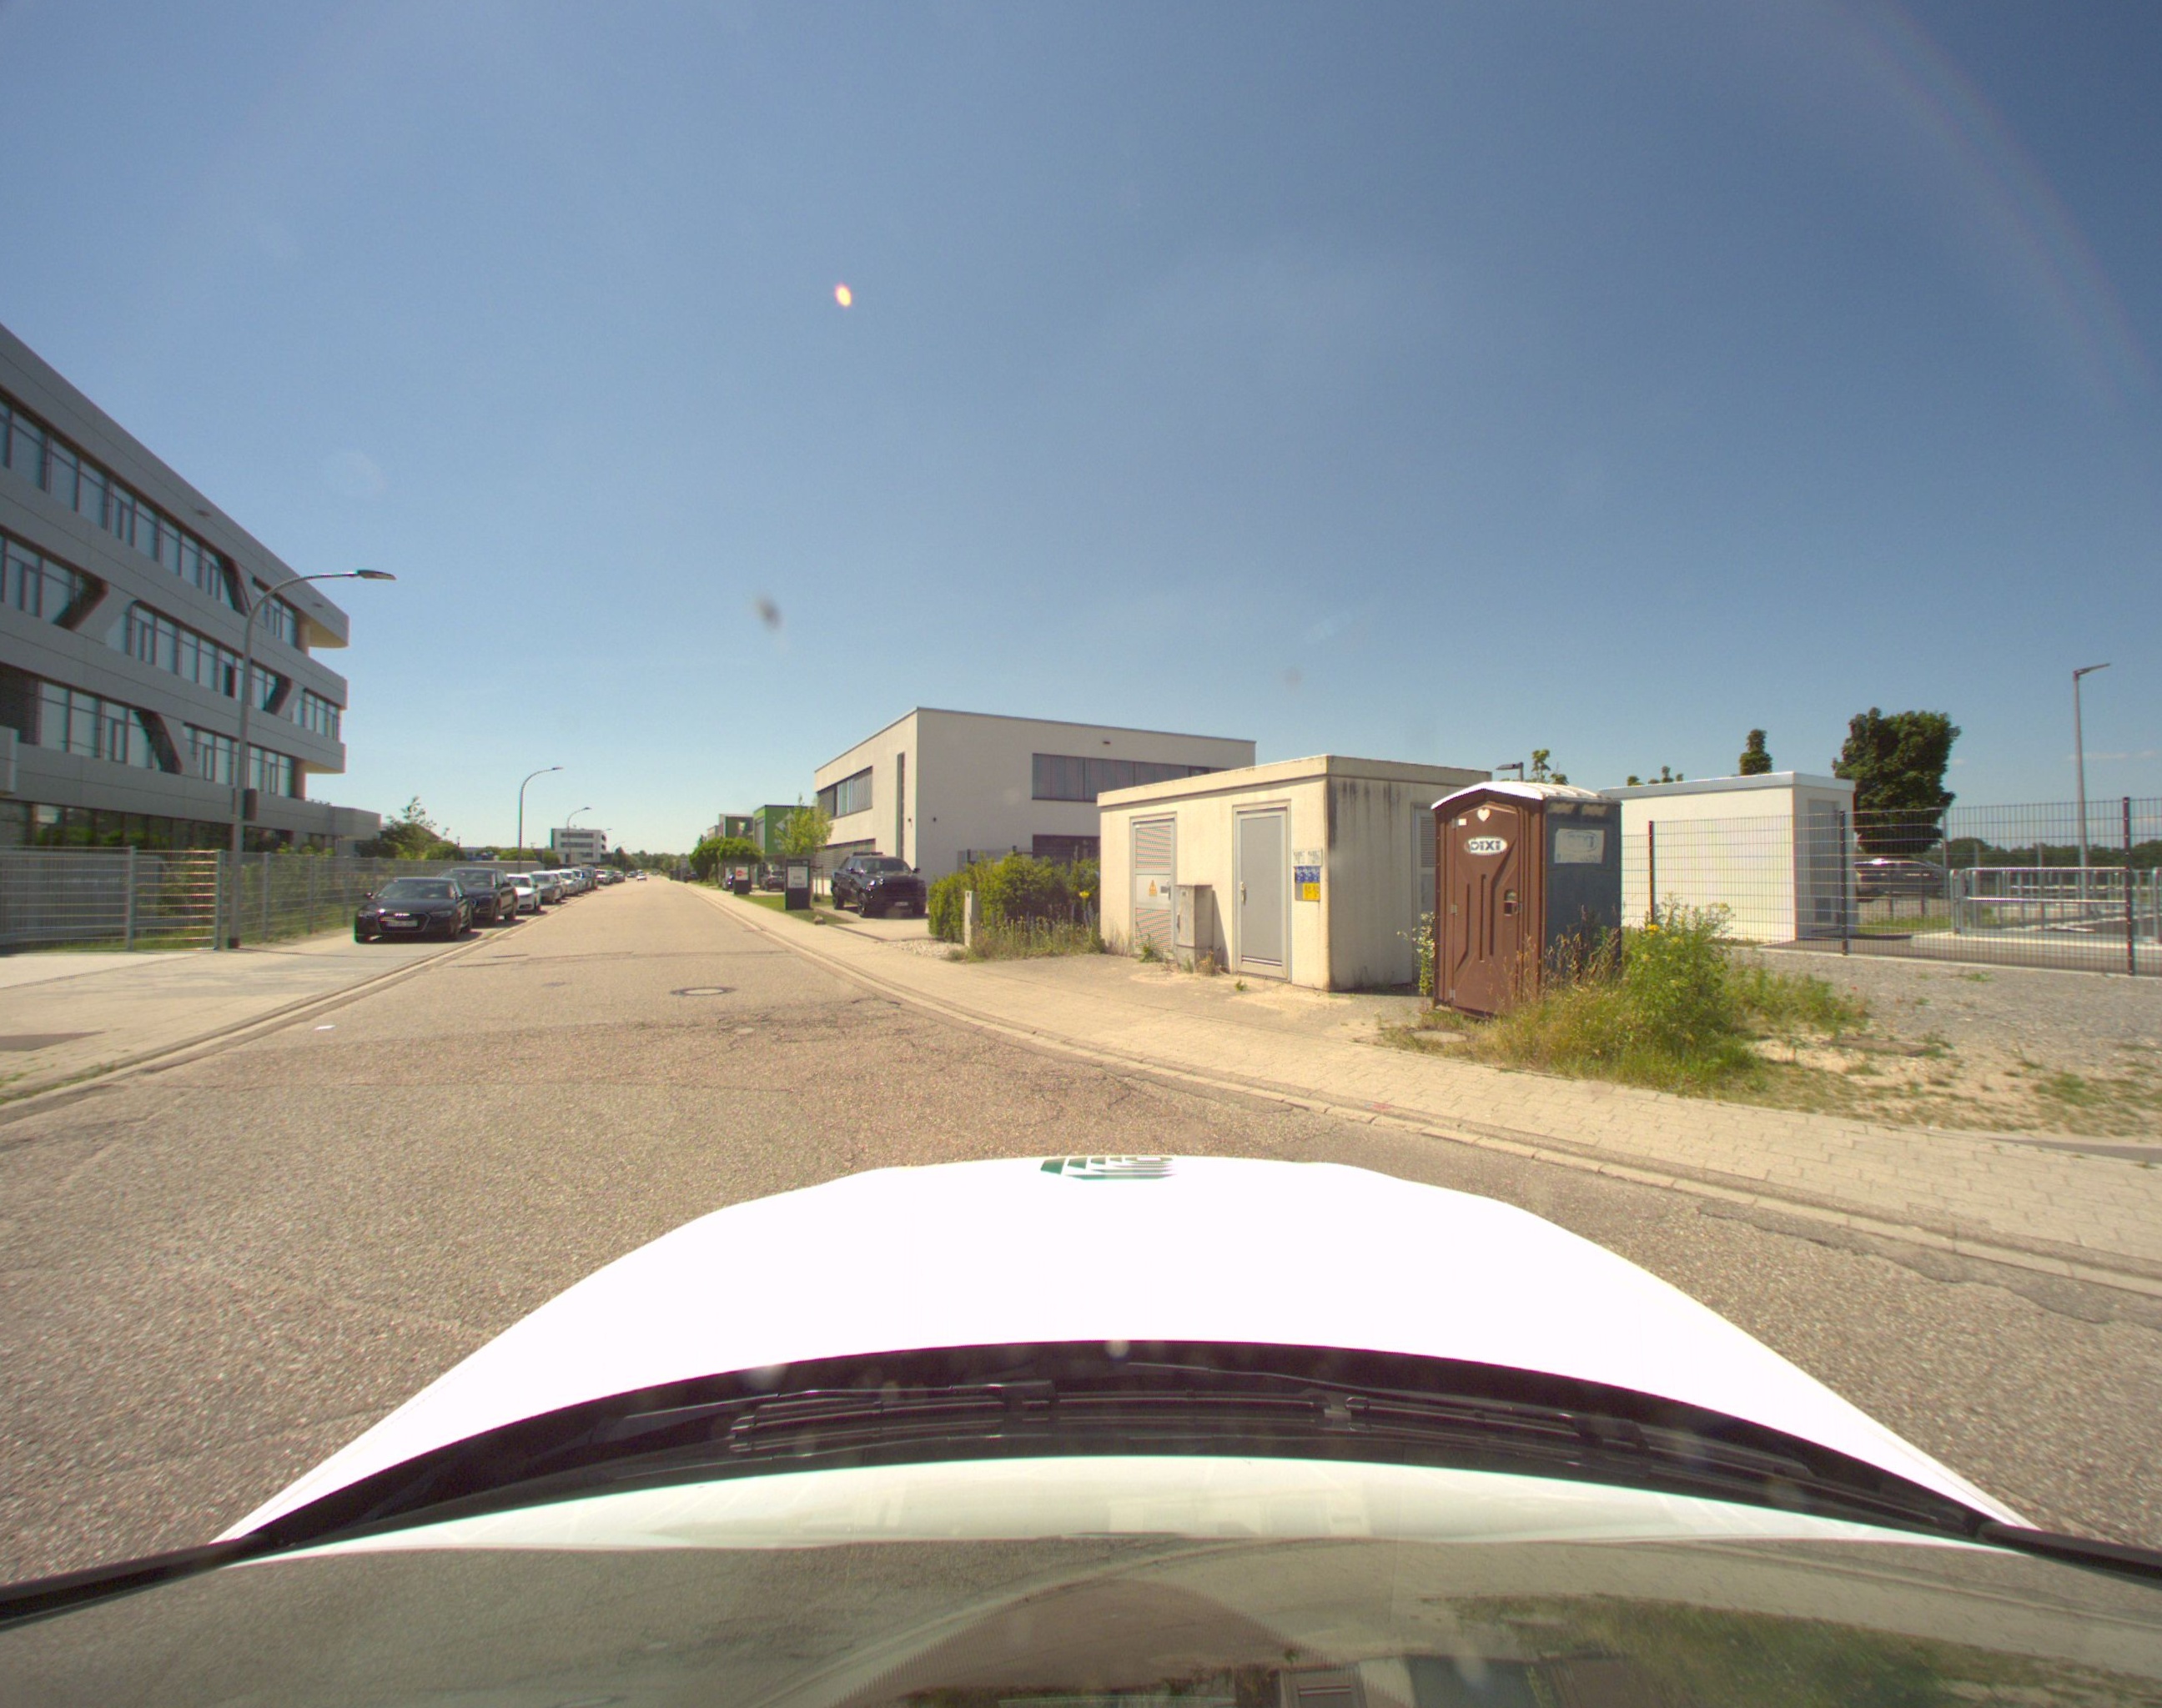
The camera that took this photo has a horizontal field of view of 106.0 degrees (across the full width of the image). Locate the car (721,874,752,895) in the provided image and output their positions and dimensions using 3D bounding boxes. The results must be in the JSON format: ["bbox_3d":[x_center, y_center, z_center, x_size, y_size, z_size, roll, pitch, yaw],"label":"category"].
[{"bbox_3d":[-24.910,2.175,58.812,1.702,1.428,4.207,2,-2,-28],"label":"car"}]

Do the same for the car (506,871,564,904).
[{"bbox_3d":[-25.254,1.525,37.792,1.693,1.386,4.597,2,-1,-27],"label":"car"}]

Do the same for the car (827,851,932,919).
[{"bbox_3d":[-7.096,0.966,28.161,2.006,2.013,5.745,1,1,-30],"label":"car"}]

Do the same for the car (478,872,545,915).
[{"bbox_3d":[-20.844,1.410,29.928,1.710,1.386,3.899,2,-1,-31],"label":"car"}]

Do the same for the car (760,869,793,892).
[{"bbox_3d":[-22.429,1.929,59.961,1.733,1.633,3.985,2,-2,-28],"label":"car"}]

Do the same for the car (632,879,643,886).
[{"bbox_3d":[-88.062,5.641,161.708,1.715,1.411,4.735,1,-1,-32],"label":"car"}]

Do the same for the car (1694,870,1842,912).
[{"bbox_3d":[26.622,1.452,31.698,1.866,1.505,3.962,1,-4,-28],"label":"car"}]

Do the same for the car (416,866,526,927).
[{"bbox_3d":[-18.387,1.218,24.770,1.779,1.651,4.808,2,-1,-26],"label":"car"}]

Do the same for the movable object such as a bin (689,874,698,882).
[{"bbox_3d":[-68.330,4.207,143.535,1.342,1.460,0.940,1,-2,-29],"label":"movable object such as a bin"}]

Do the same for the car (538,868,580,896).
[{"bbox_3d":[-30.726,1.618,47.990,1.713,1.536,4.529,3,-2,-29],"label":"car"}]

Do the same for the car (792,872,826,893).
[{"bbox_3d":[-20.224,2.100,60.551,1.733,1.450,3.985,2,-2,-28],"label":"car"}]

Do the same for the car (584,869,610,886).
[{"bbox_3d":[-47.071,2.303,79.201,1.796,1.542,4.326,2,-2,-26],"label":"car"}]

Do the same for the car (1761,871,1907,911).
[{"bbox_3d":[30.570,1.529,33.190,1.866,1.505,3.962,1,-4,-28],"label":"car"}]

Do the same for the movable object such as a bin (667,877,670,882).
[{"bbox_3d":[-90.480,5.572,178.529,0.555,0.928,0.517,-4,1,-24],"label":"movable object such as a bin"}]

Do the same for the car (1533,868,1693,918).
[{"bbox_3d":[17.425,1.298,26.861,1.866,1.505,3.962,1,-4,-28],"label":"car"}]

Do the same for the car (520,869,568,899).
[{"bbox_3d":[-28.259,1.554,42.990,1.713,1.444,4.398,3,-2,-29],"label":"car"}]

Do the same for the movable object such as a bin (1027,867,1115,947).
[{"bbox_3d":[-0.207,1.023,16.334,1.391,1.523,1.159,1,-1,-29],"label":"movable object such as a bin"}]

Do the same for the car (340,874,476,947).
[{"bbox_3d":[-15.722,1.246,19.254,1.781,1.466,4.145,2,-1,-30],"label":"car"}]

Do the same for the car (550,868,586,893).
[{"bbox_3d":[-33.161,1.693,52.715,1.644,1.536,3.623,3,-2,-29],"label":"car"}]
